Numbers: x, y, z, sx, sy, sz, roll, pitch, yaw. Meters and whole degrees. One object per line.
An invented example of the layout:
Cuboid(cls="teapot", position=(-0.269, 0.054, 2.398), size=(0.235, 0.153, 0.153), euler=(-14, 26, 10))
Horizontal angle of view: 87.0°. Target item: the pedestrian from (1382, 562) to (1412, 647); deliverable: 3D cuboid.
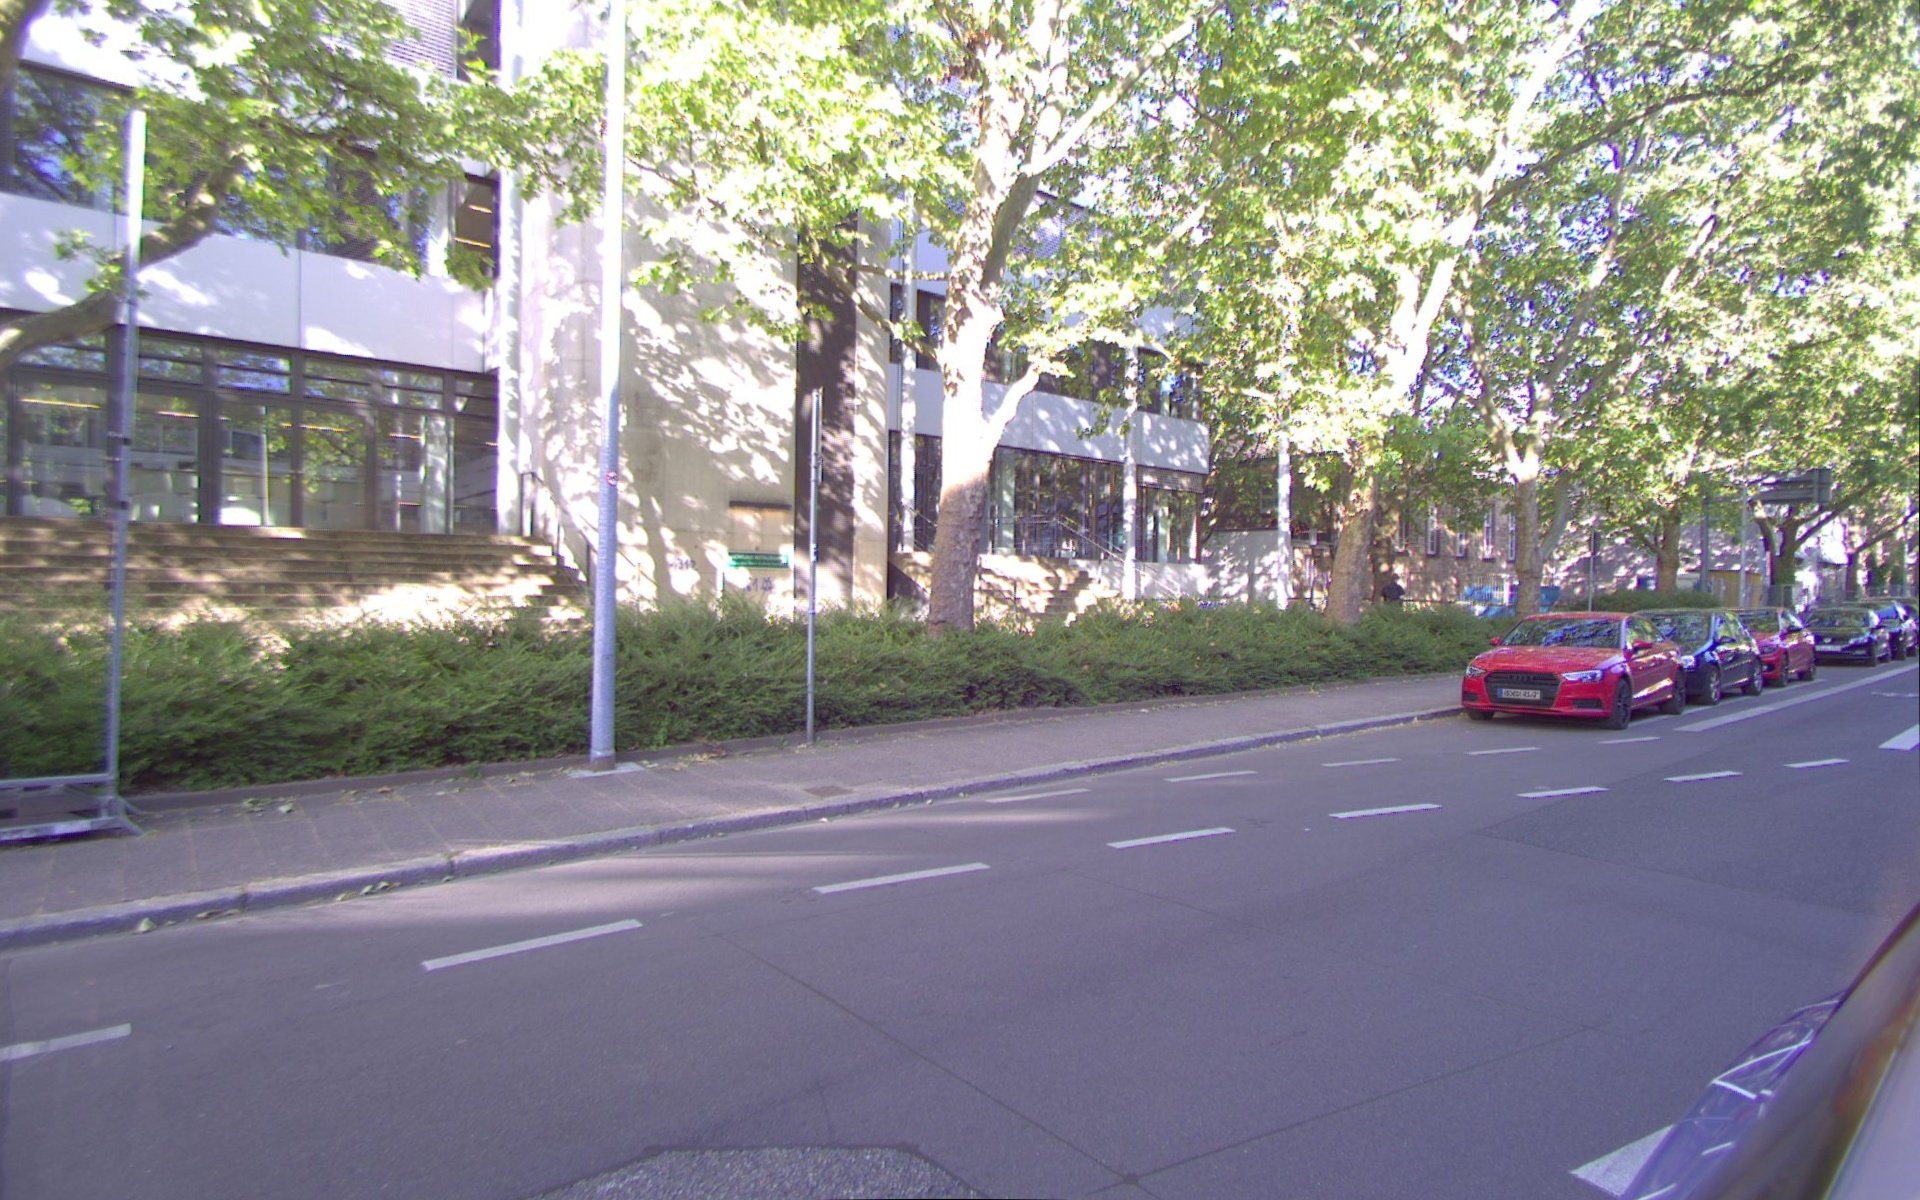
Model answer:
Cuboid(cls="pedestrian", position=(10.646, 0.105, 24.662), size=(0.549, 2.039, 0.555), euler=(0, 0, 38))

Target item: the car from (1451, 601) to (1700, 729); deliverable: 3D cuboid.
Cuboid(cls="car", position=(8.302, 0.736, 13.521), size=(3.931, 1.409, 1.792), euler=(-1, 1, -42))

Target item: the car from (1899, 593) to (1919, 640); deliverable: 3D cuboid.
Cuboid(cls="car", position=(35.536, 0.571, 36.790), size=(4.497, 1.633, 1.632), euler=(-1, 0, -41))

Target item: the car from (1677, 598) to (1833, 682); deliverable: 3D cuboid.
Cuboid(cls="car", position=(15.744, 0.707, 19.978), size=(3.854, 1.467, 1.691), euler=(-1, 0, -40))

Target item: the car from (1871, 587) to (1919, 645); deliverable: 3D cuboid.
Cuboid(cls="car", position=(31.173, 0.472, 33.019), size=(4.497, 1.814, 1.632), euler=(-1, 0, -41))

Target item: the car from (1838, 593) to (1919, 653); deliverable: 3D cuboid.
Cuboid(cls="car", position=(26.634, 0.603, 29.050), size=(4.158, 1.598, 1.632), euler=(-1, 0, -41))

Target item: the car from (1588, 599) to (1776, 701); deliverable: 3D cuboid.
Cuboid(cls="car", position=(11.857, 0.729, 16.551), size=(3.632, 1.436, 1.668), euler=(-1, 0, -40))

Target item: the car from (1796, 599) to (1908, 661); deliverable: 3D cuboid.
Cuboid(cls="car", position=(22.949, 0.711, 25.993), size=(3.855, 1.441, 1.691), euler=(-1, 0, -41))
